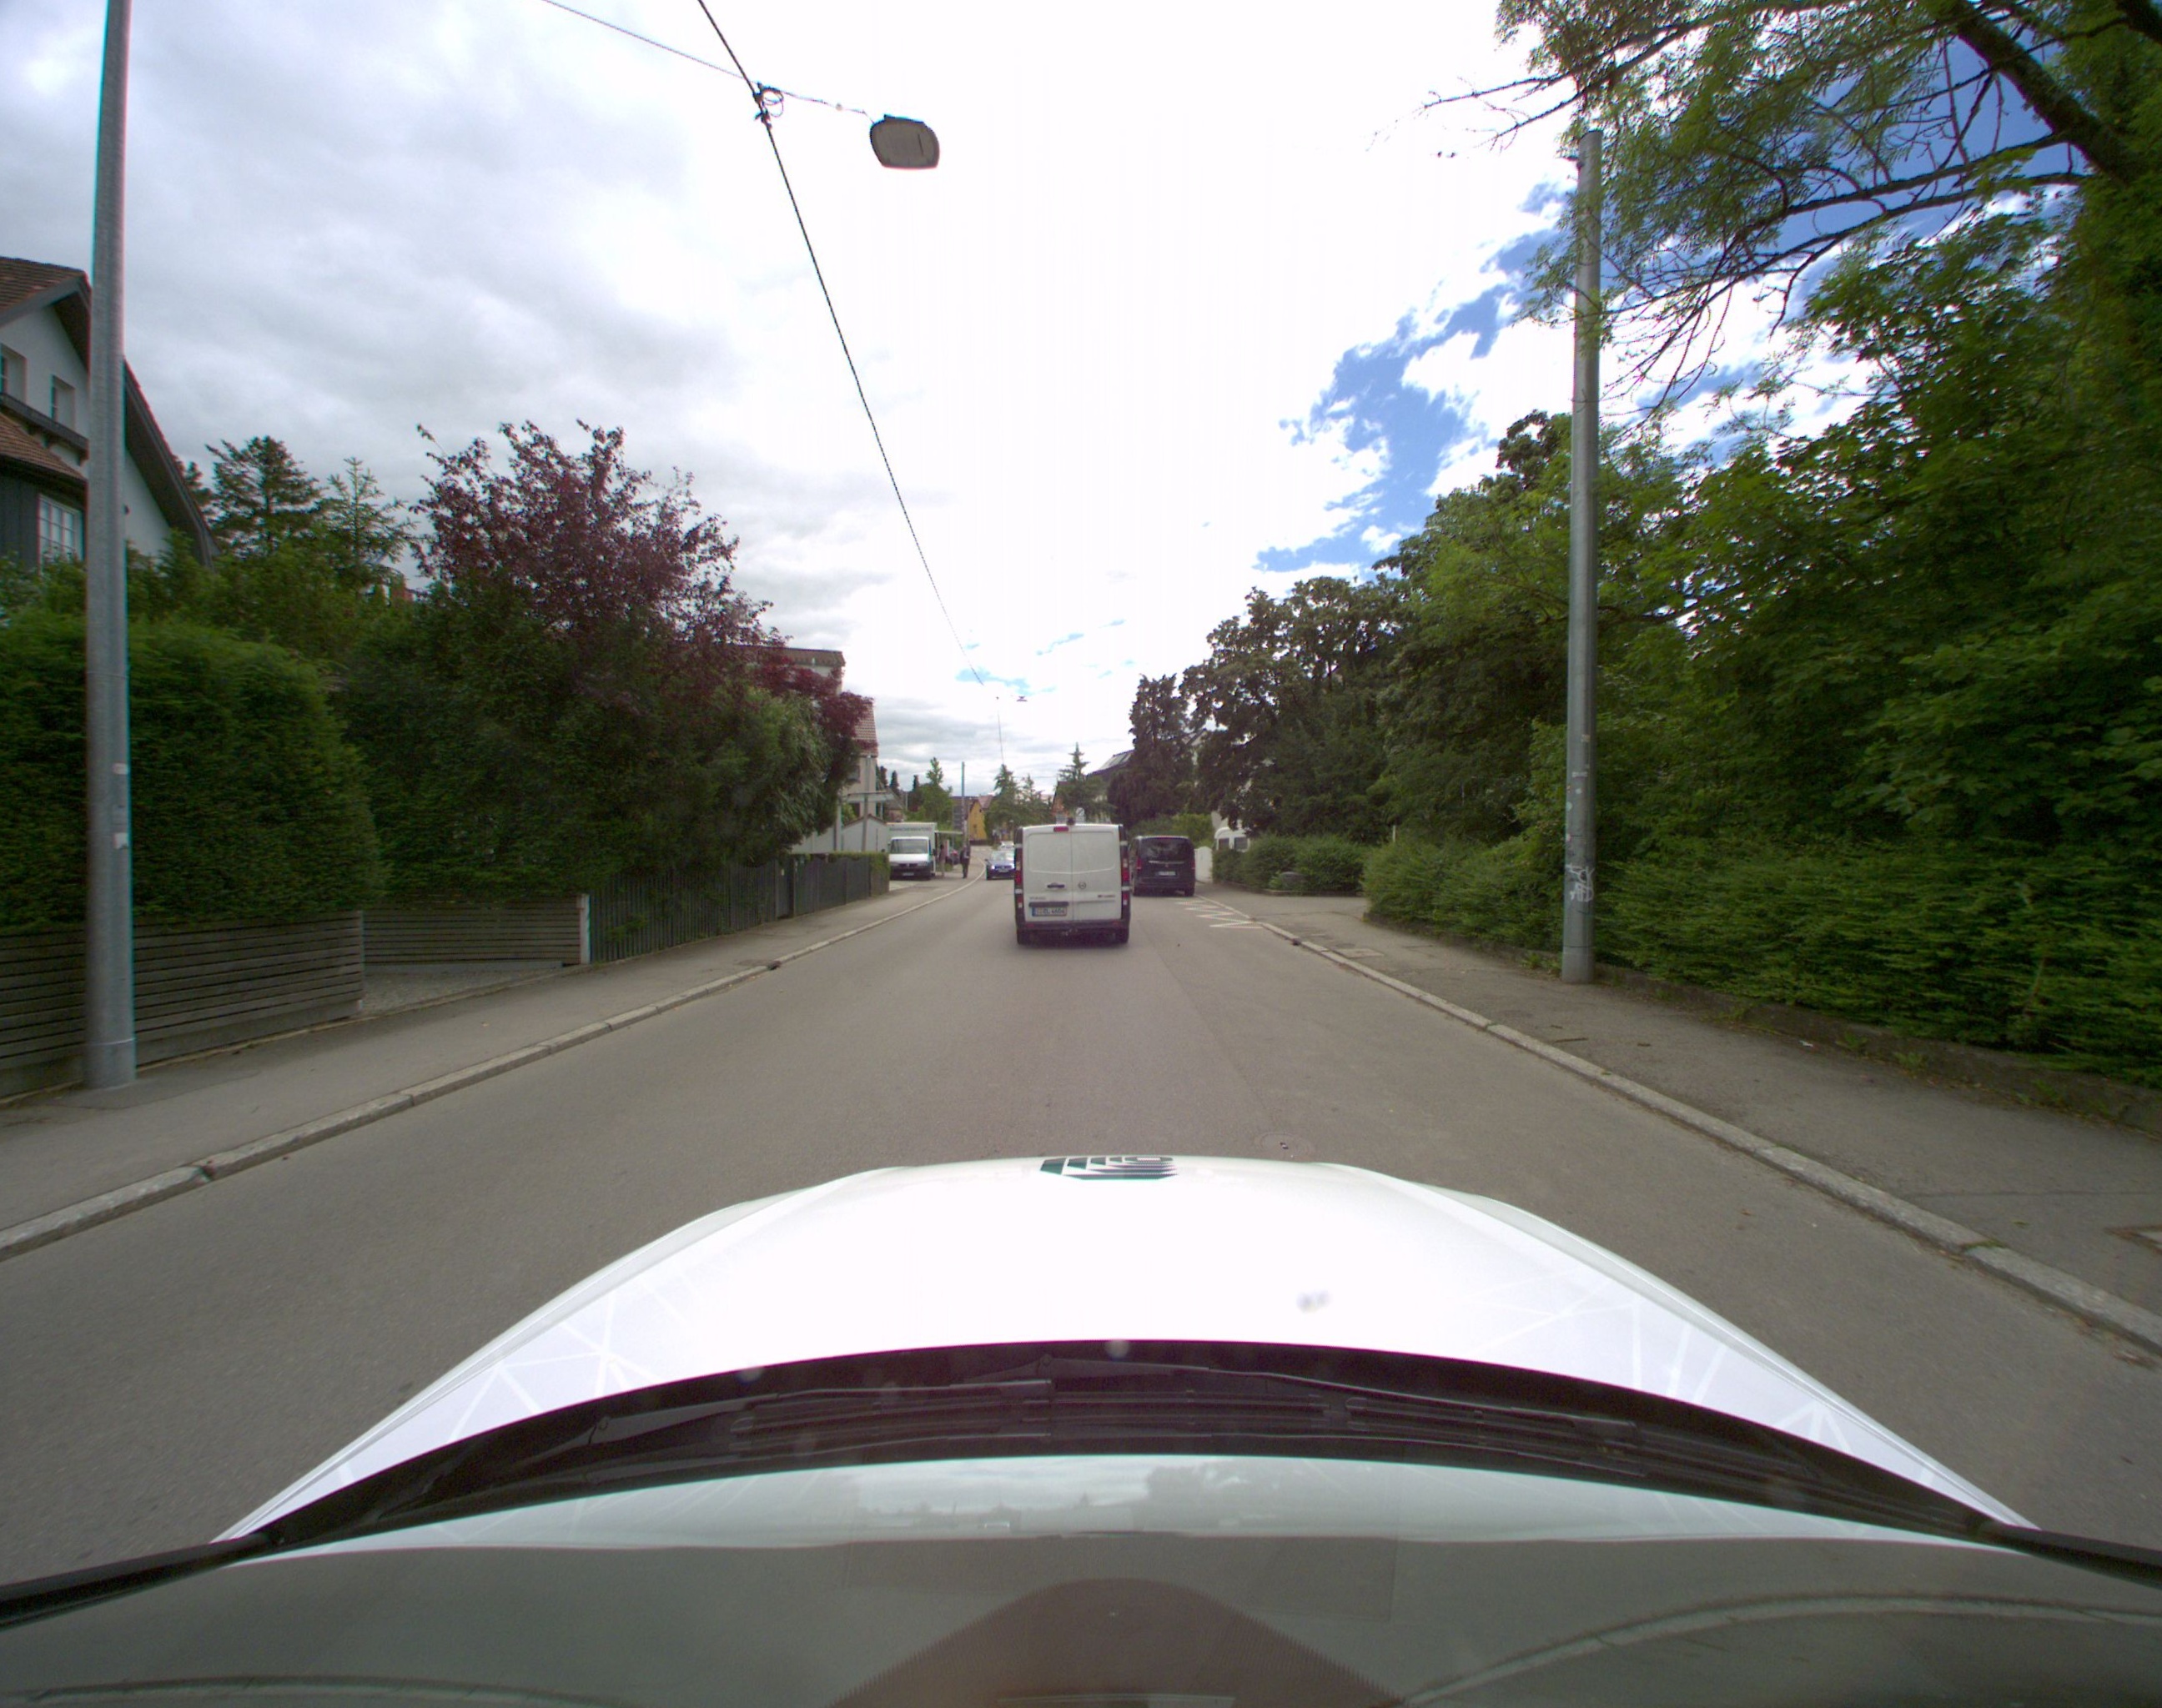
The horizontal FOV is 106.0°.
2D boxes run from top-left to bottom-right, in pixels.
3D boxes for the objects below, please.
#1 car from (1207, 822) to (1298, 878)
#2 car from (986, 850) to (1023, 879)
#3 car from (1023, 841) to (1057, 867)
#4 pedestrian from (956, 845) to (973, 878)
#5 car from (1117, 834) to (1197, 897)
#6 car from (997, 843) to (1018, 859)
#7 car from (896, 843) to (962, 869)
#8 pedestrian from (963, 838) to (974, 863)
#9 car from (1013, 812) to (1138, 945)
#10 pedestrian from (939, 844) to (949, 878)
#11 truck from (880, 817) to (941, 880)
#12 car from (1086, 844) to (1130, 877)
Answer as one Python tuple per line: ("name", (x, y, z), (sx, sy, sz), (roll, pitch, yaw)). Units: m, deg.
("car", (8.774, -0.212, 42.243), (2.501, 2.682, 5.161), (2, 0, -15))
("car", (-3.938, 0.505, 42.622), (1.689, 1.432, 3.924), (0, 0, -2))
("car", (-3.047, -0.030, 59.843), (1.994, 1.848, 3.985), (-1, 1, -11))
("pedestrian", (-6.083, 0.369, 42.562), (0.721, 1.686, 1.108), (2, 0, -3))
("car", (2.367, 0.336, 26.766), (1.905, 1.848, 5.152), (0, 0, -3))
("car", (-8.513, -0.344, 94.522), (1.994, 1.782, 3.985), (-1, 1, -11))
("car", (-10.552, 0.137, 56.575), (4.322, 1.695, 1.787), (2, 0, -18))
("pedestrian", (-9.028, -0.250, 65.267), (0.731, 1.946, 1.216), (2, 0, -3))
("car", (-0.253, 0.364, 14.699), (1.912, 2.002, 4.430), (-1, 0, -5))
("pedestrian", (-6.842, 0.331, 40.754), (0.401, 1.695, 0.596), (2, 0, -8))
("truck", (-8.281, -0.274, 40.253), (2.471, 2.840, 6.689), (0, 0, -8))
("car", (1.352, 0.308, 42.892), (1.757, 1.582, 4.010), (-1, 0, -6))
